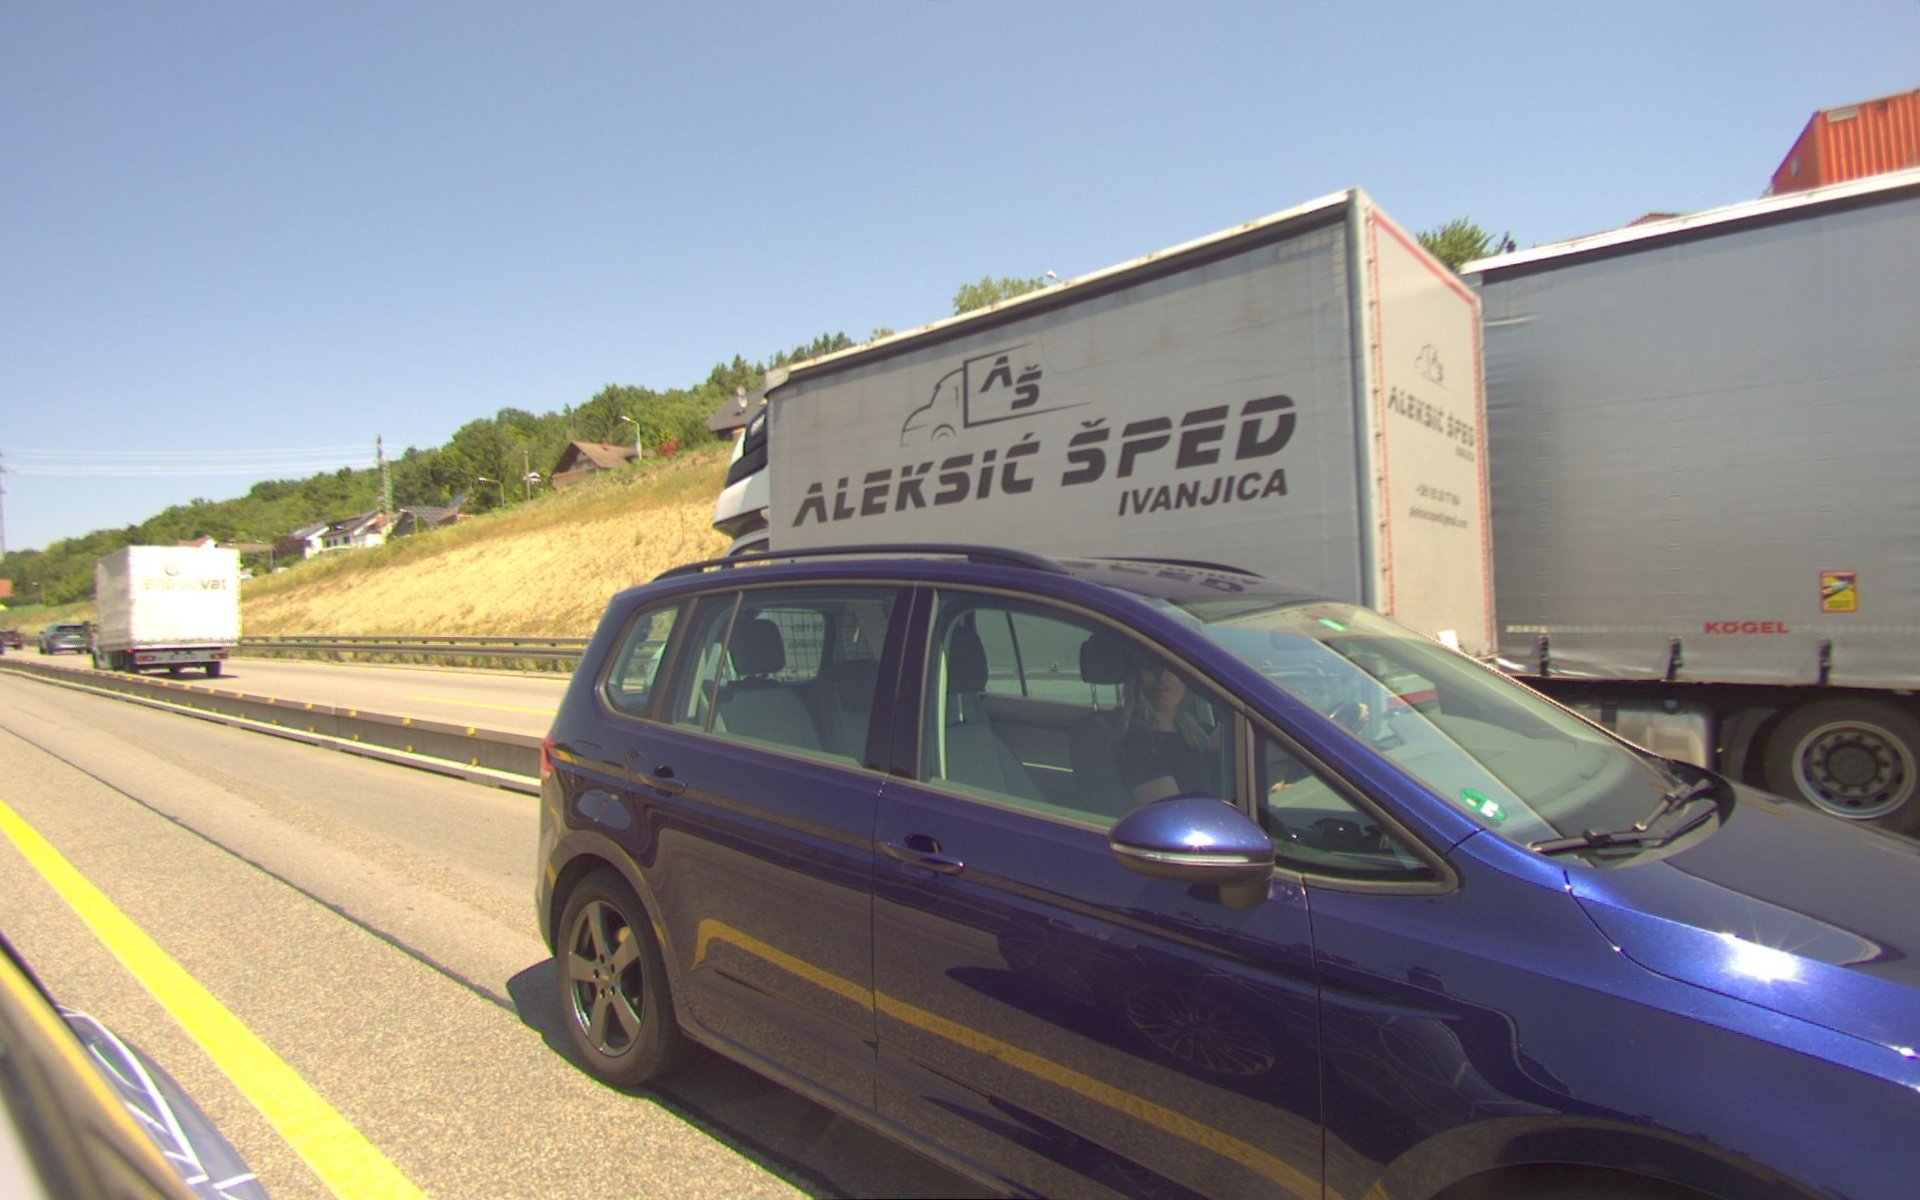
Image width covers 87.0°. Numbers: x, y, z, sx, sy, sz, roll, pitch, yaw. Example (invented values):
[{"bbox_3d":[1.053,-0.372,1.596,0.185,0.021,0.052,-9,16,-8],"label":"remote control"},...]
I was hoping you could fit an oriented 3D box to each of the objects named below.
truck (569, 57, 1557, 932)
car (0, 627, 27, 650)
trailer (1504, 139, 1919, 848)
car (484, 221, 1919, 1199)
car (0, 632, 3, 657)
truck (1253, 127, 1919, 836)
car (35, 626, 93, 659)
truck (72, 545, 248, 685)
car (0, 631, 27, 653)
[{"bbox_3d":[0.077,-0.388,7.771,7.354,3.787,2.563,-2,-1,41],"label":"truck"},{"bbox_3d":[-70.210,2.837,74.550,5.123,1.597,1.667,-2,-1,41],"label":"car"},{"bbox_3d":[9.936,-0.744,3.689,13.694,4.055,2.670,-2,-1,41],"label":"trailer"},{"bbox_3d":[0.642,0.486,2.716,4.650,1.731,1.757,-3,-2,41],"label":"car"},{"bbox_3d":[-55.760,2.540,57.326,4.947,1.438,1.778,-2,-1,41],"label":"car"},{"bbox_3d":[4.843,-0.655,8.128,3.952,4.080,2.670,-2,-1,41],"label":"truck"},{"bbox_3d":[-49.576,2.334,55.965,4.666,1.684,1.835,-2,-1,41],"label":"car"},{"bbox_3d":[-22.073,0.426,27.762,7.034,3.399,2.512,-2,-1,41],"label":"truck"},{"bbox_3d":[-69.944,3.113,74.245,4.334,1.506,1.757,-3,-2,42],"label":"car"}]
